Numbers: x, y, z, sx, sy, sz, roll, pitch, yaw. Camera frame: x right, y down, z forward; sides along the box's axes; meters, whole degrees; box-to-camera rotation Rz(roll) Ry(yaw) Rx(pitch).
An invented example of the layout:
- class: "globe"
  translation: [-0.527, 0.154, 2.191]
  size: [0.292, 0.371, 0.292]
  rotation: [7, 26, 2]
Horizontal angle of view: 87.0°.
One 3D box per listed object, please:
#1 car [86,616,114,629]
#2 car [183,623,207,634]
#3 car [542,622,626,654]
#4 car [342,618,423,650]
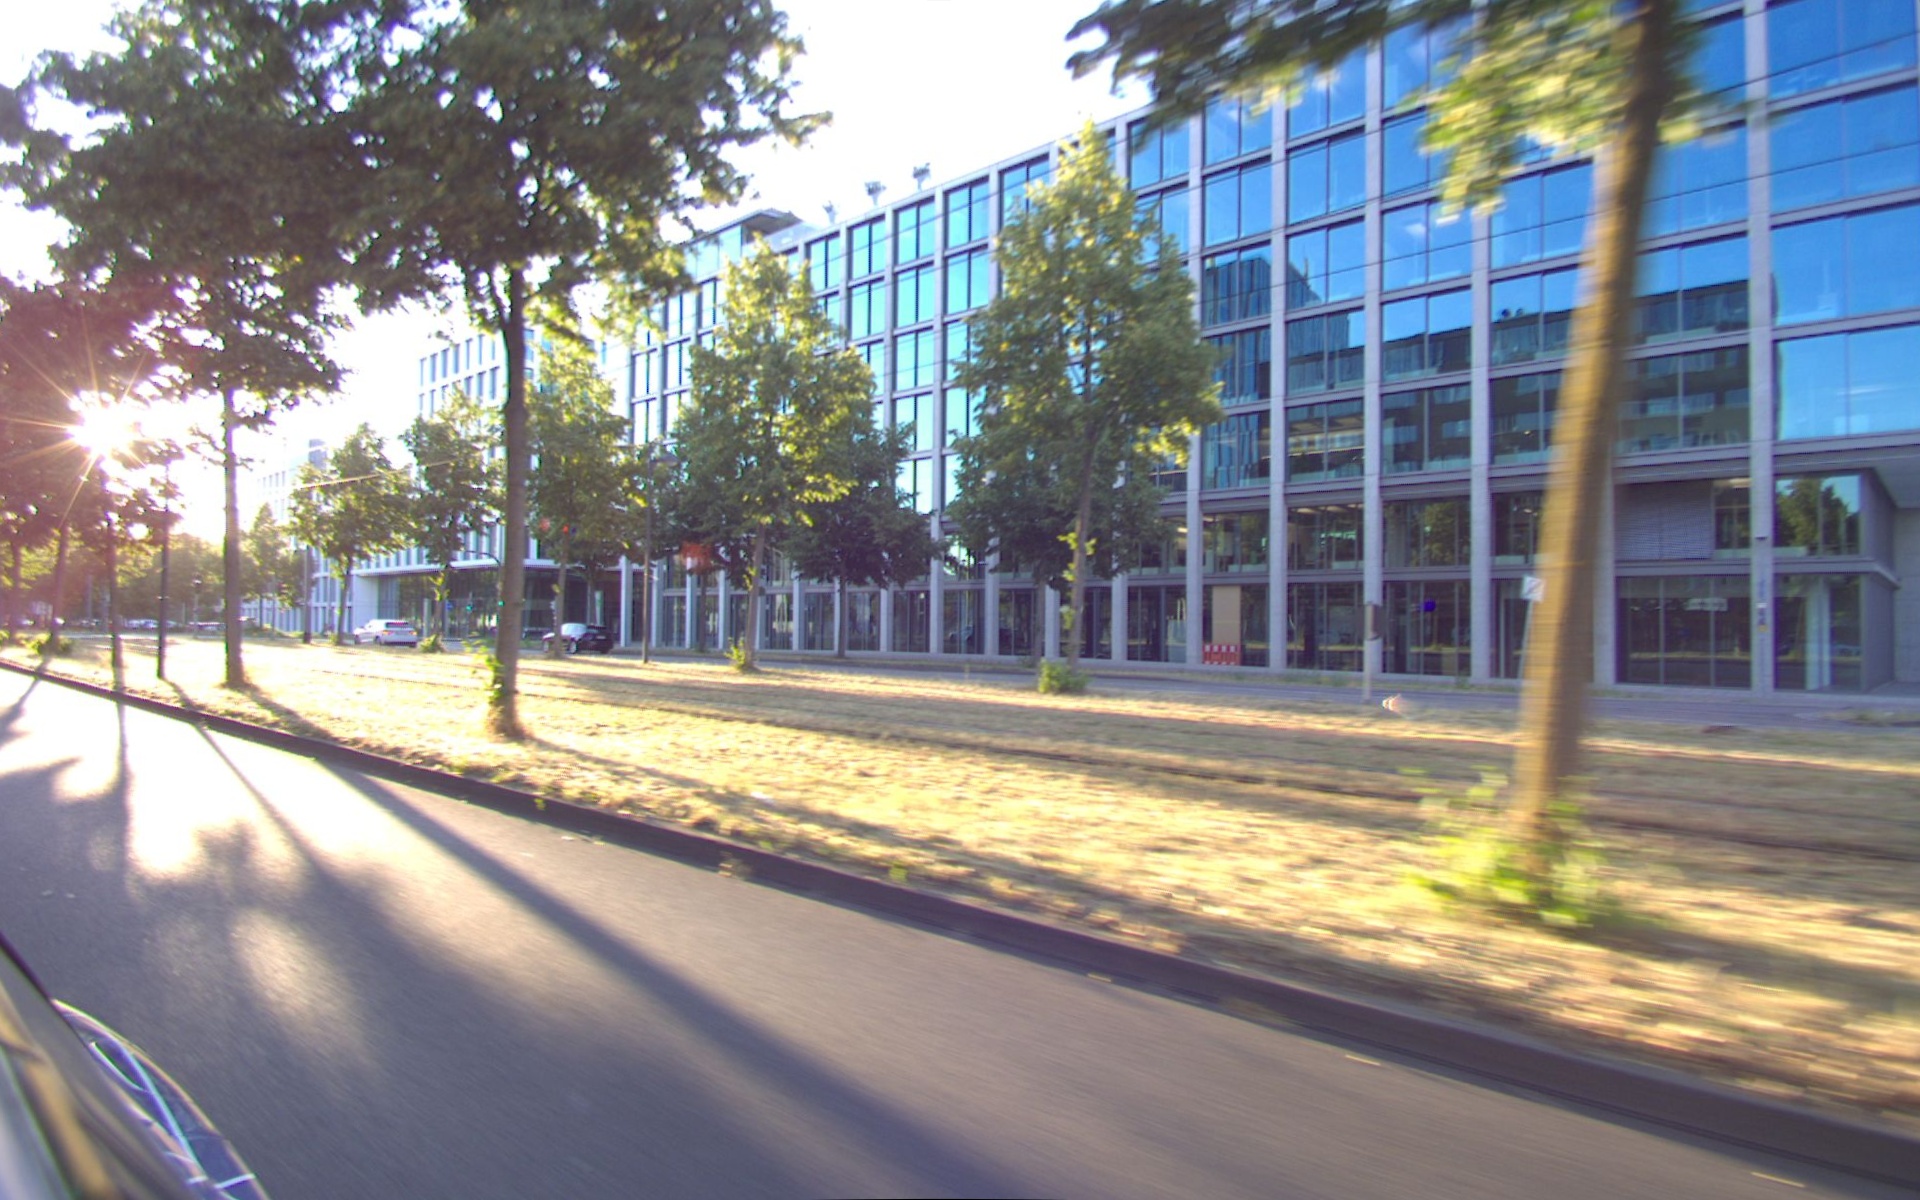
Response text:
- class: "car"
  translation: [-95.733, 2.492, 112.681]
  size: [3.995, 1.460, 1.625]
  rotation: [-1, -2, 38]
- class: "car"
  translation: [-103.812, 3.885, 137.312]
  size: [3.996, 1.414, 1.741]
  rotation: [-1, -2, 39]
- class: "car"
  translation: [-18.047, 1.795, 48.456]
  size: [4.386, 1.433, 1.911]
  rotation: [0, -2, 41]
- class: "car"
  translation: [-28.187, 1.644, 49.320]
  size: [4.626, 1.497, 1.883]
  rotation: [-1, -2, 39]
